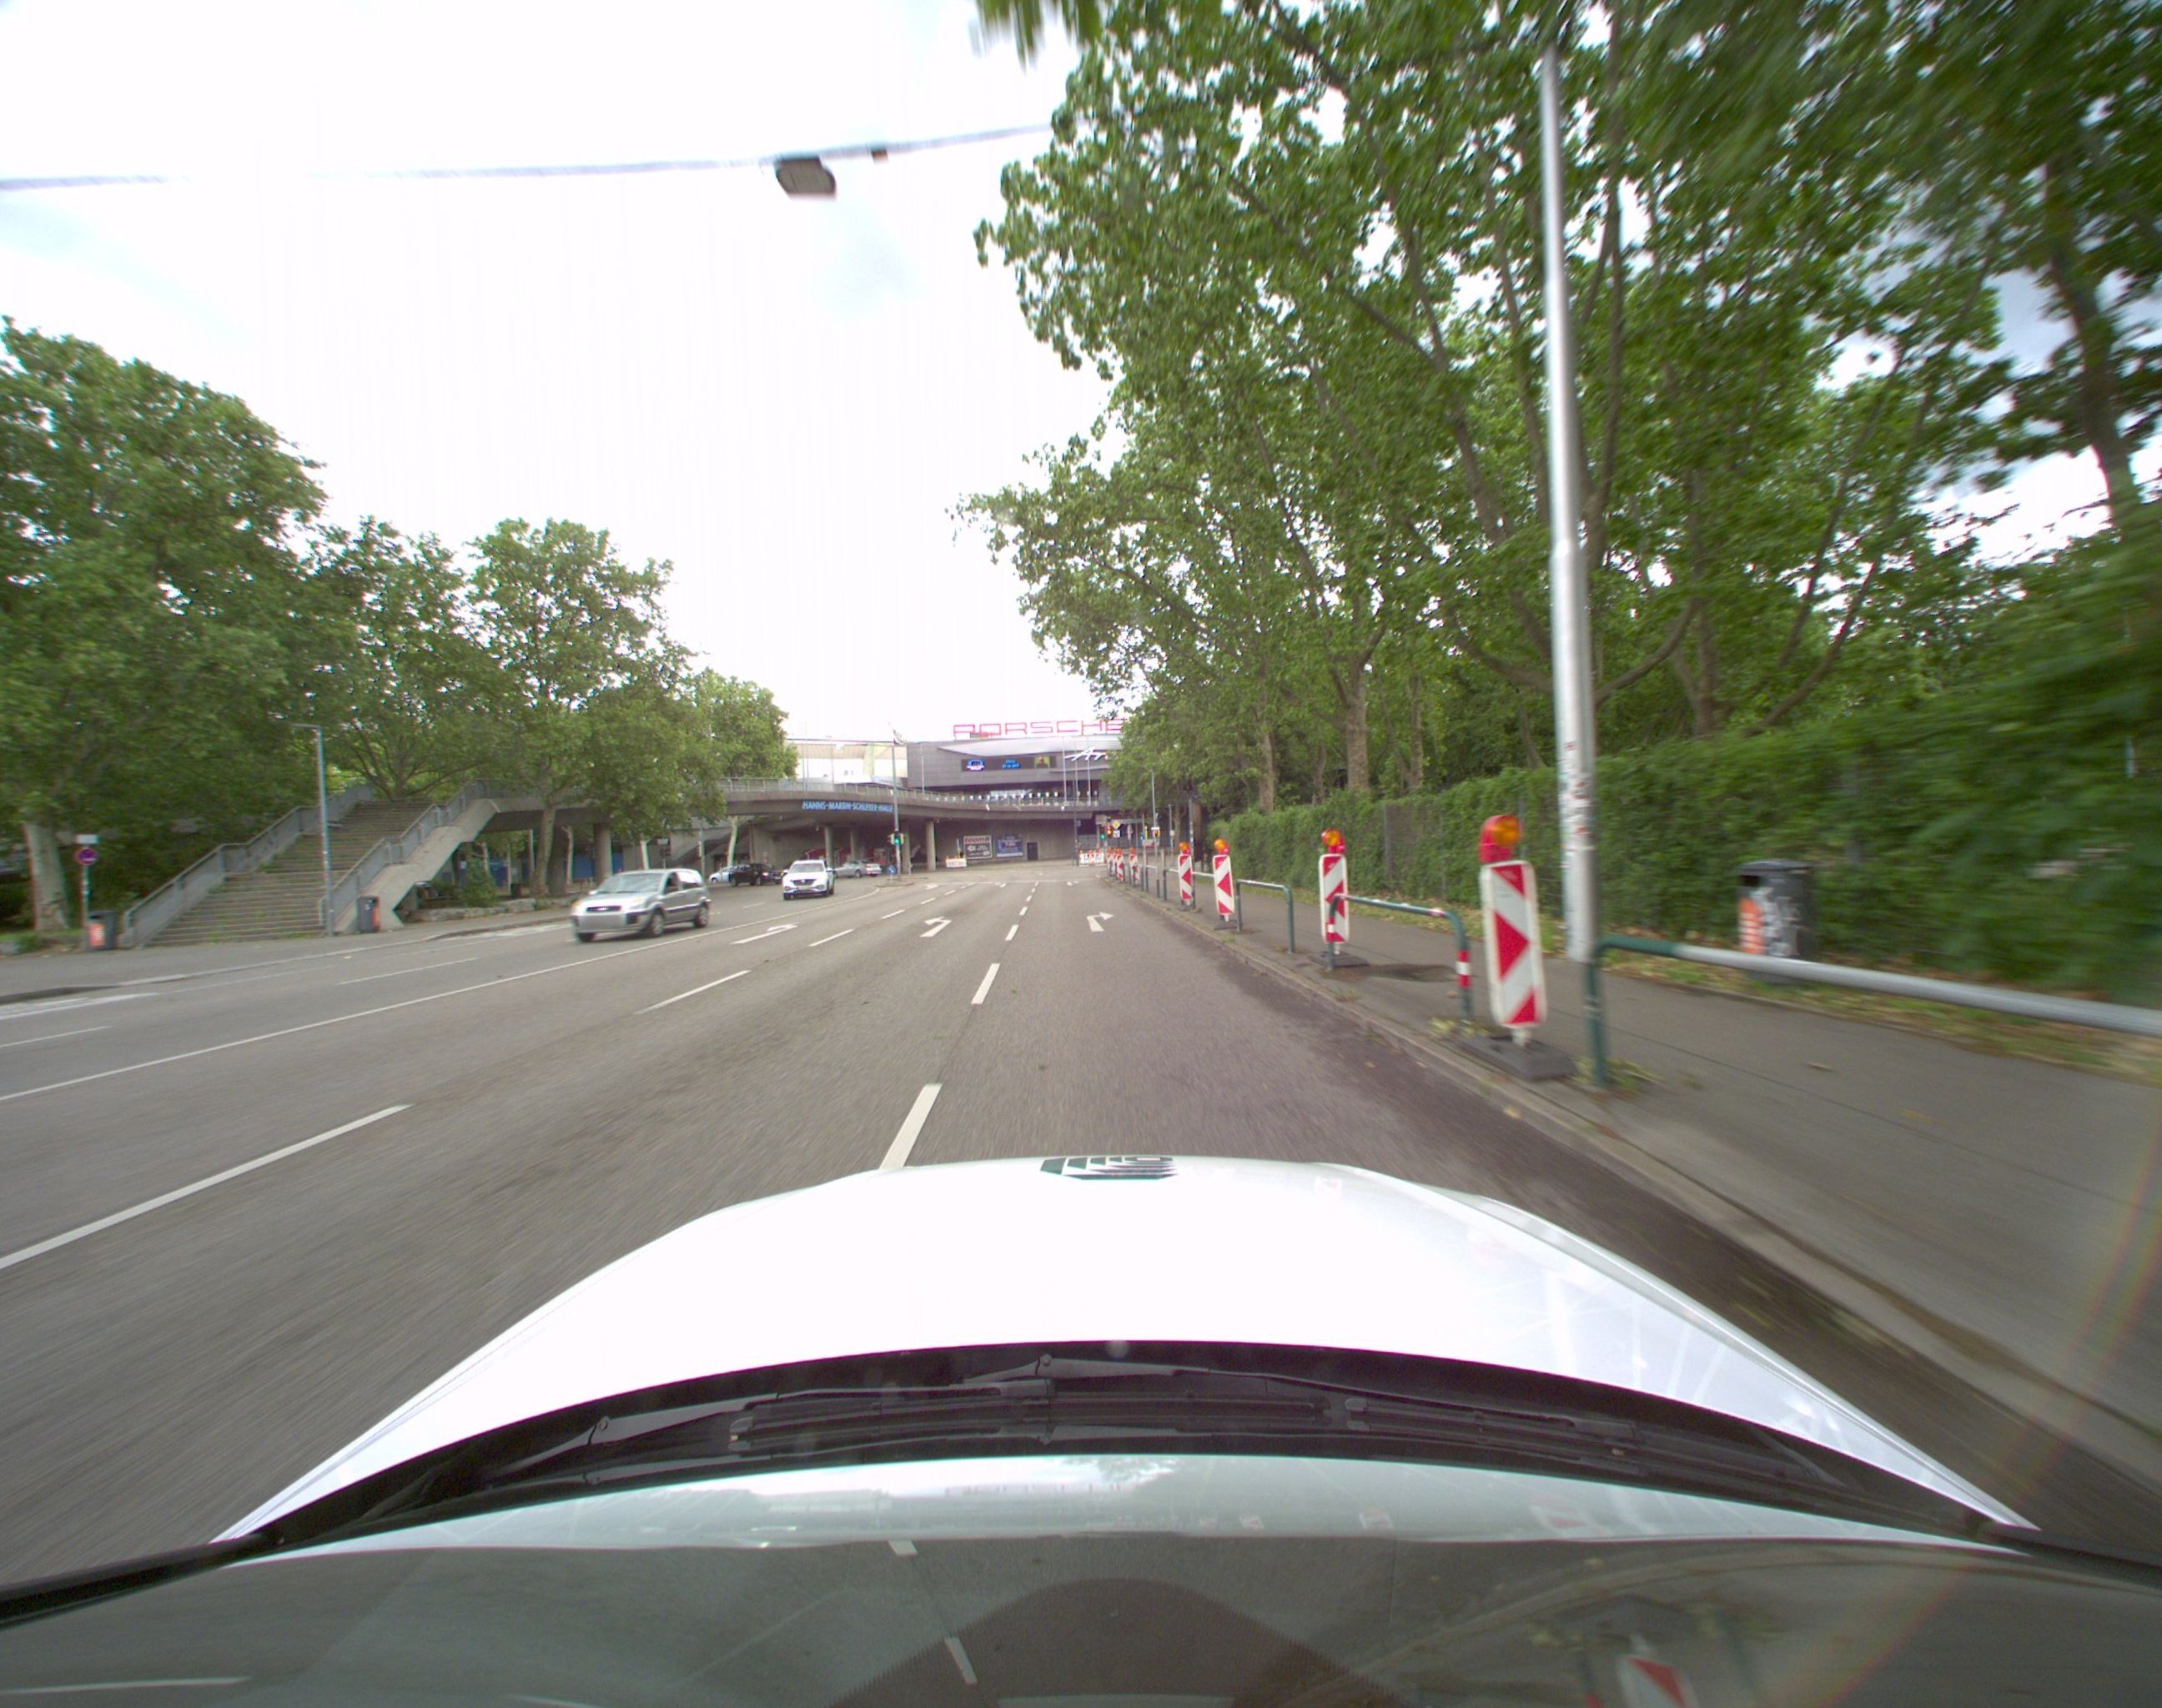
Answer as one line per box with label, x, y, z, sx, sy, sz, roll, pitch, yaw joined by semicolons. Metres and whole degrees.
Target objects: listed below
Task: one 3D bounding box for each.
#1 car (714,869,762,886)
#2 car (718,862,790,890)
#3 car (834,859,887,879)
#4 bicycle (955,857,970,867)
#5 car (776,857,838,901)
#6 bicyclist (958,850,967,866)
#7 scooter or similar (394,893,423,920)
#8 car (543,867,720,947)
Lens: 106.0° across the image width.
car;-29.661;2.055;70.446;3.372;1.313;1.616;-2;0;1
car;-23.033;1.541;57.409;4.380;1.606;1.783;-4;0;16
car;-18.066;1.221;66.658;3.948;1.418;2.013;-2;0;32
bicycle;-12.726;0.896;87.339;1.531;1.013;0.516;-1;-1;-6
car;-12.180;1.058;36.465;1.995;1.744;4.577;-2;0;-11
bicyclist;-12.742;0.415;87.350;0.850;1.697;0.765;-1;-1;-6
scooter or similar;-33.987;2.632;41.169;0.415;1.319;1.226;-4;-2;-3
car;-10.334;1.139;19.135;1.989;1.525;3.996;-4;0;-3
